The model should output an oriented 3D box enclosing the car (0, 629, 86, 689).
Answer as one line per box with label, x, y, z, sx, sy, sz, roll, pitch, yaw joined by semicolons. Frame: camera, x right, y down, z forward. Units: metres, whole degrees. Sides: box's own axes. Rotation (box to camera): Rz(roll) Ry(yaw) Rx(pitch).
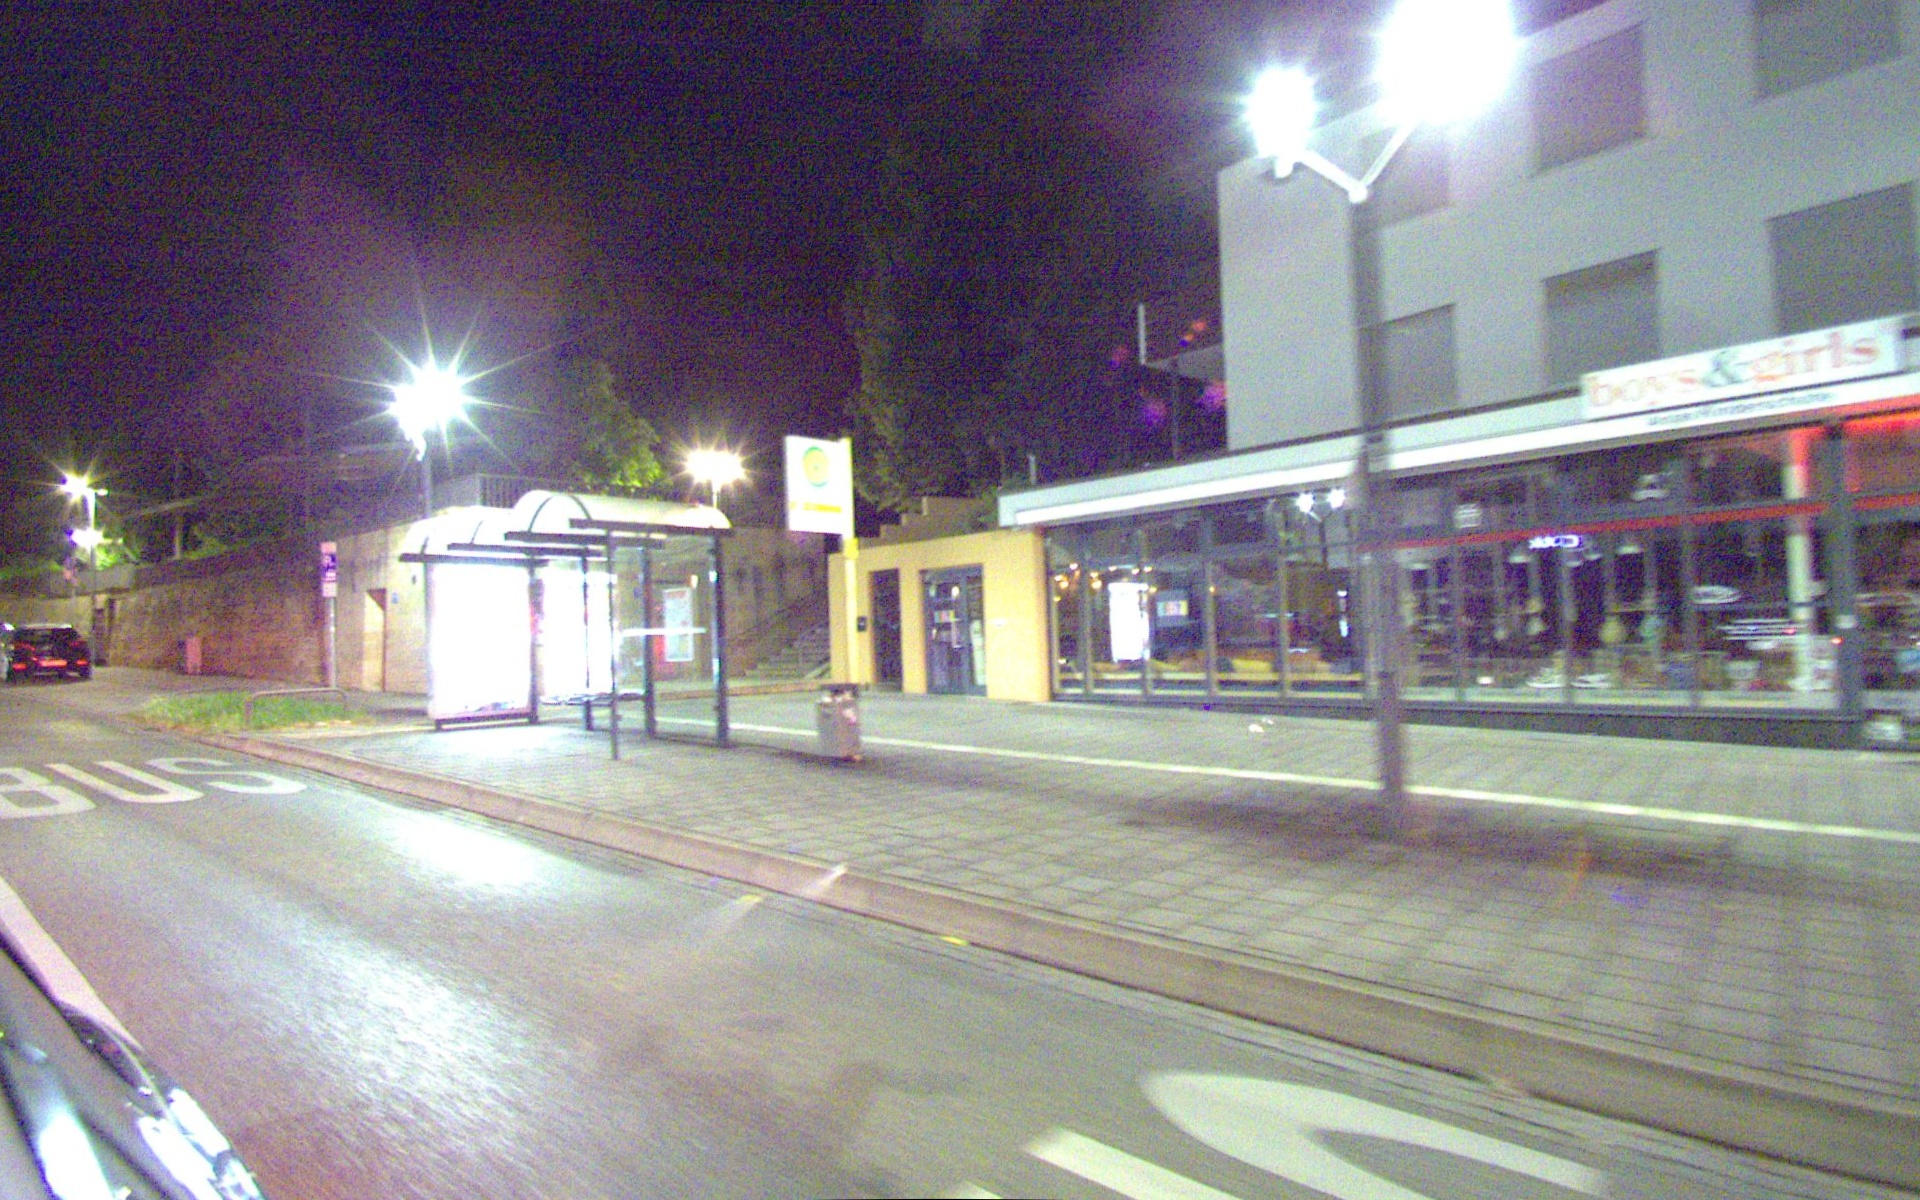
car;-25.385;1.542;27.560;4.123;1.447;1.675;-1;0;39
